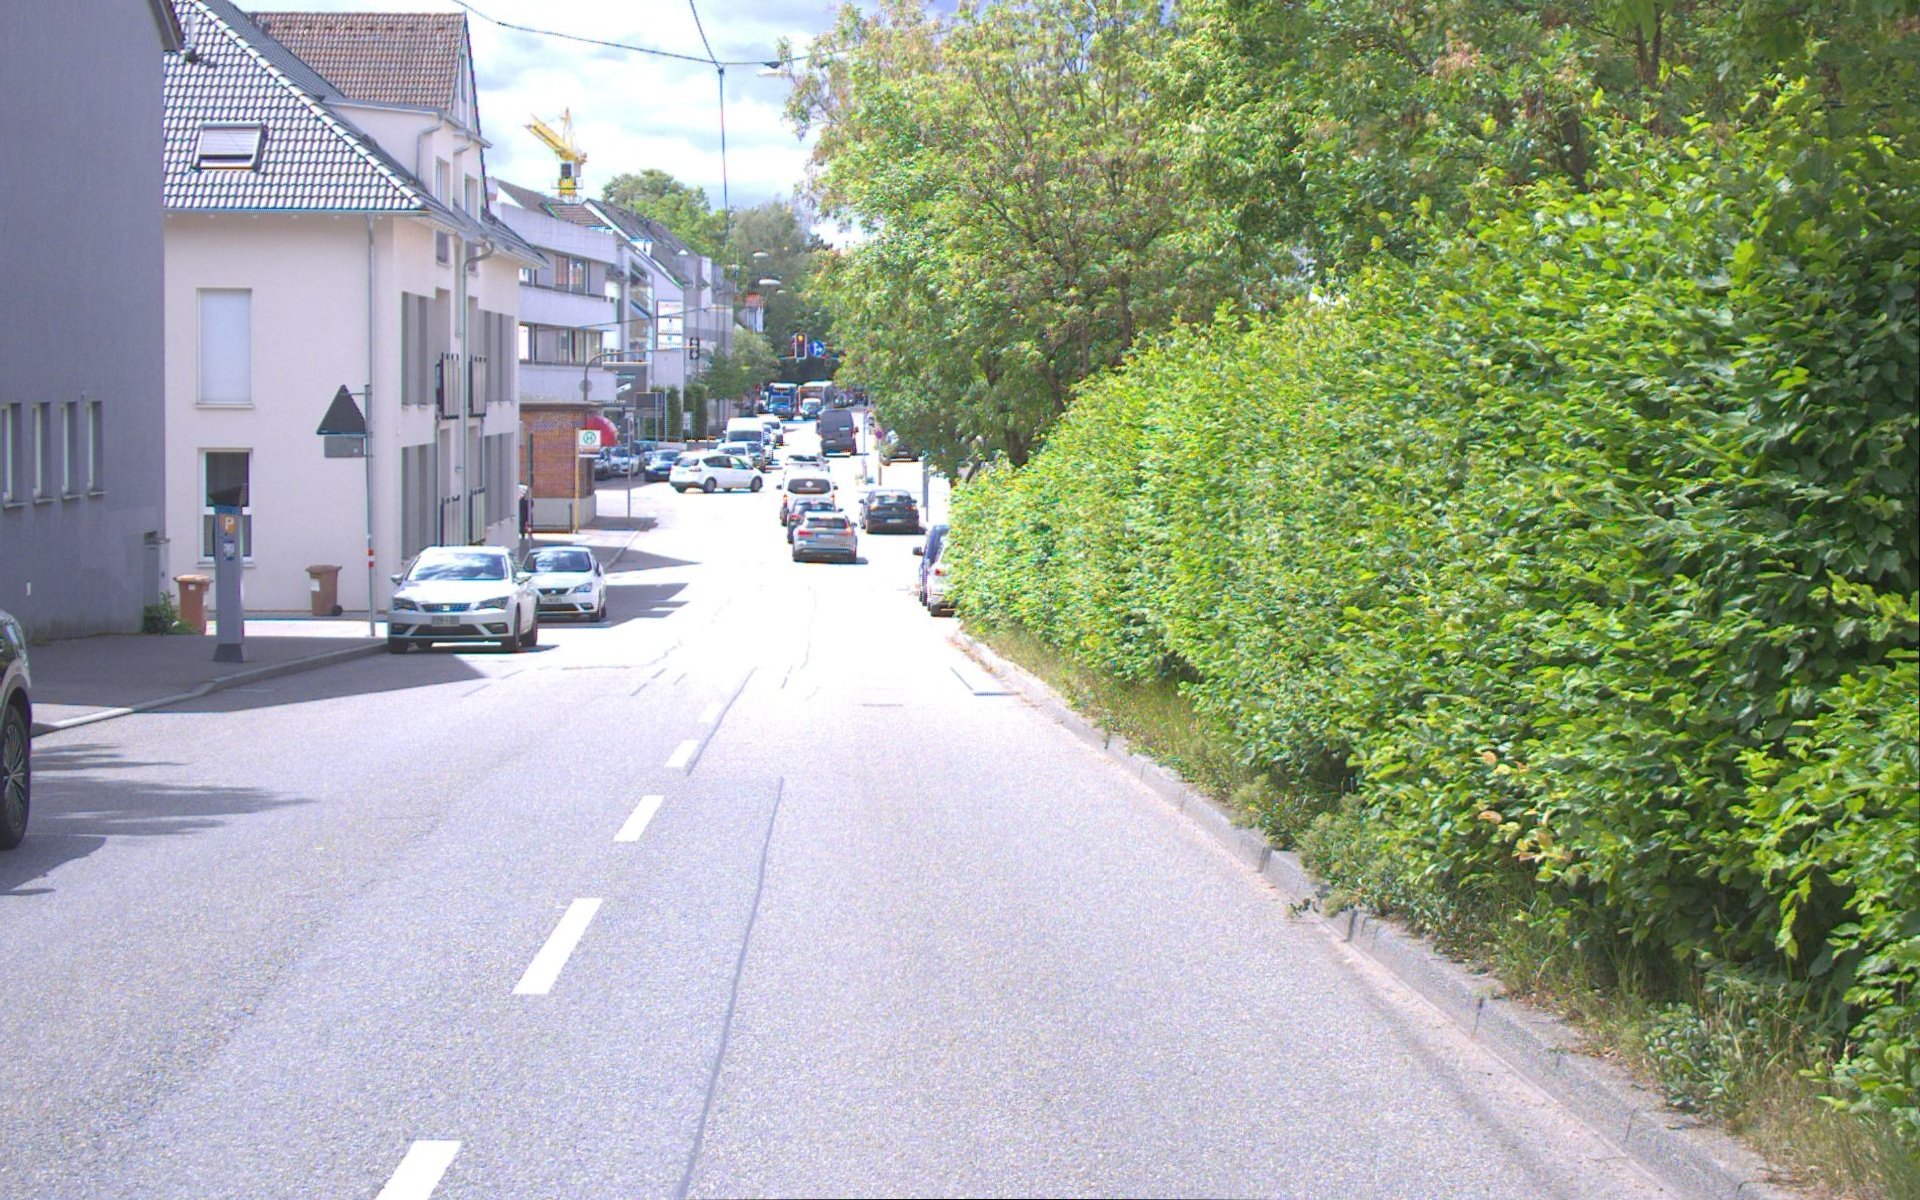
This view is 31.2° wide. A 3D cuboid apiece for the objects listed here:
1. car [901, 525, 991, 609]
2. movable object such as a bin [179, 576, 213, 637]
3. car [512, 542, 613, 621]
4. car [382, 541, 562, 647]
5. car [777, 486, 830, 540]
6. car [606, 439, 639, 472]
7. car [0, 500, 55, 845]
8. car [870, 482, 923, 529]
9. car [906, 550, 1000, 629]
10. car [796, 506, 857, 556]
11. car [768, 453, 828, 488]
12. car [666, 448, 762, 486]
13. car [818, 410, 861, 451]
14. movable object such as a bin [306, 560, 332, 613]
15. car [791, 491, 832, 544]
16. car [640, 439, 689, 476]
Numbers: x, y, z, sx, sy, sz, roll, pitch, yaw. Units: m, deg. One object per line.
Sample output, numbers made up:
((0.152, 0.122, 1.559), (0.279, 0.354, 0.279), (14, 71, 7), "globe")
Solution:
((-0.341, -0.761, 77.036), (1.844, 1.761, 4.516), (1, 1, -2), "car")
((-11.851, 0.101, 53.324), (0.454, 0.926, 0.400), (-1, 1, -3), "movable object such as a bin")
((-7.652, -0.385, 66.373), (1.647, 1.414, 3.699), (1, 1, -2), "car")
((-6.819, -0.114, 48.393), (1.697, 1.385, 3.866), (0, 2, 4), "car")
((-5.519, -3.093, 121.503), (1.836, 1.855, 3.851), (1, 2, -2), "car")
((-16.242, -6.934, 165.388), (1.384, 1.535, 3.399), (1, 1, -2), "car")
((-5.318, 0.377, 15.069), (1.795, 1.604, 4.647), (0, 2, -4), "car")
((-2.187, -3.241, 117.608), (1.753, 1.366, 4.001), (1, 4, -2), "car")
((-0.177, -0.237, 71.567), (1.786, 1.504, 4.365), (1, 1, -2), "car")
((-3.956, -2.046, 101.904), (1.744, 1.412, 4.001), (0, 2, -2), "car")
((-7.446, -5.946, 158.537), (1.783, 1.487, 3.998), (2, 2, 12), "car")
((-10.395, -5.611, 145.238), (1.785, 1.552, 3.991), (1, 2, 39), "car")
((-7.099, -9.927, 201.764), (2.436, 2.310, 5.327), (2, 2, -2), "car")
((-11.619, -0.244, 62.328), (0.413, 0.950, 0.391), (0, 1, -5), "movable object such as a bin")
((-4.785, -2.669, 110.640), (1.273, 1.522, 3.051), (0, 5, -3), "car")
((-13.784, -6.632, 160.453), (1.873, 1.634, 4.000), (2, 2, 0), "car")
